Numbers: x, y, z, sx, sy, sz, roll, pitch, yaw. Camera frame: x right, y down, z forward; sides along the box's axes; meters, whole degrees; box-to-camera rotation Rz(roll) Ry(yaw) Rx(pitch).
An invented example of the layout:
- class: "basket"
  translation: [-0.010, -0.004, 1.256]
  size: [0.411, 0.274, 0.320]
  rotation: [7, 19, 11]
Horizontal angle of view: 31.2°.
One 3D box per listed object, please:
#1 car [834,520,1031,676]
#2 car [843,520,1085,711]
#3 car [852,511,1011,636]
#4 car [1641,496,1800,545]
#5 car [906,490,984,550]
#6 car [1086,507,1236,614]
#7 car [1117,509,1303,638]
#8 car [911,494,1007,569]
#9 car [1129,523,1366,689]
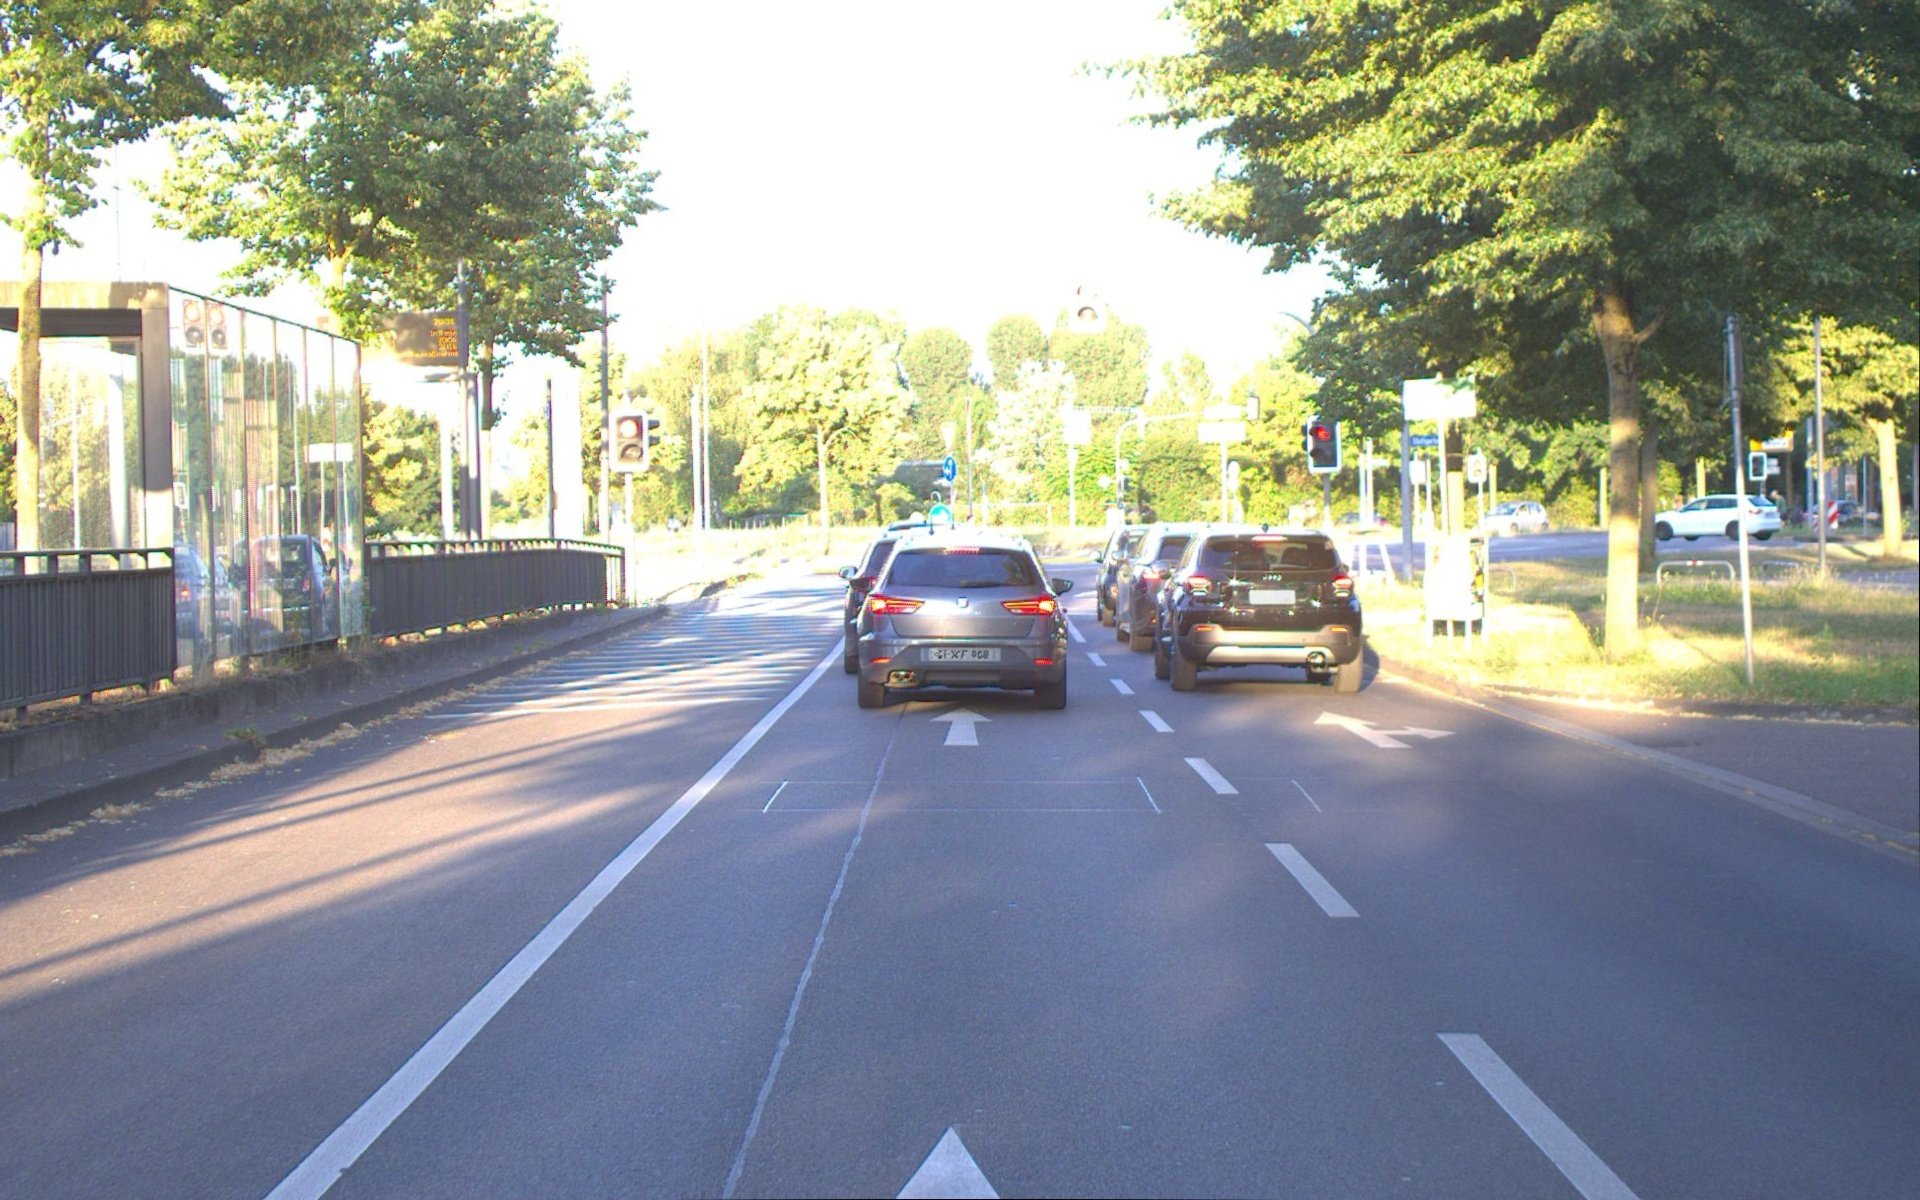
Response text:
- class: "car"
  translation: [-0.290, -0.067, 35.594]
  size: [1.911, 1.481, 4.000]
  rotation: [-1, 2, -1]
- class: "car"
  translation: [0.013, 0.076, 29.375]
  size: [1.911, 1.481, 4.000]
  rotation: [-1, 2, -1]
- class: "car"
  translation: [-0.368, -0.373, 43.568]
  size: [1.911, 1.481, 4.000]
  rotation: [-1, 2, -1]
- class: "car"
  translation: [23.516, -2.458, 106.387]
  size: [4.436, 1.481, 1.914]
  rotation: [1, 2, 39]
- class: "car"
  translation: [-0.395, -2.035, 87.392]
  size: [1.911, 1.481, 4.000]
  rotation: [-1, 2, -1]
- class: "car"
  translation: [2.896, -0.602, 50.268]
  size: [1.911, 1.481, 4.000]
  rotation: [-1, 2, -1]
- class: "car"
  translation: [2.992, -0.361, 41.827]
  size: [1.911, 1.481, 4.000]
  rotation: [-1, 2, -1]
- class: "car"
  translation: [-0.050, -1.425, 71.223]
  size: [1.911, 1.481, 4.000]
  rotation: [-1, 2, -1]
- class: "car"
  translation: [2.723, 0.011, 33.369]
  size: [1.911, 1.481, 4.000]
  rotation: [0, 1, -1]
